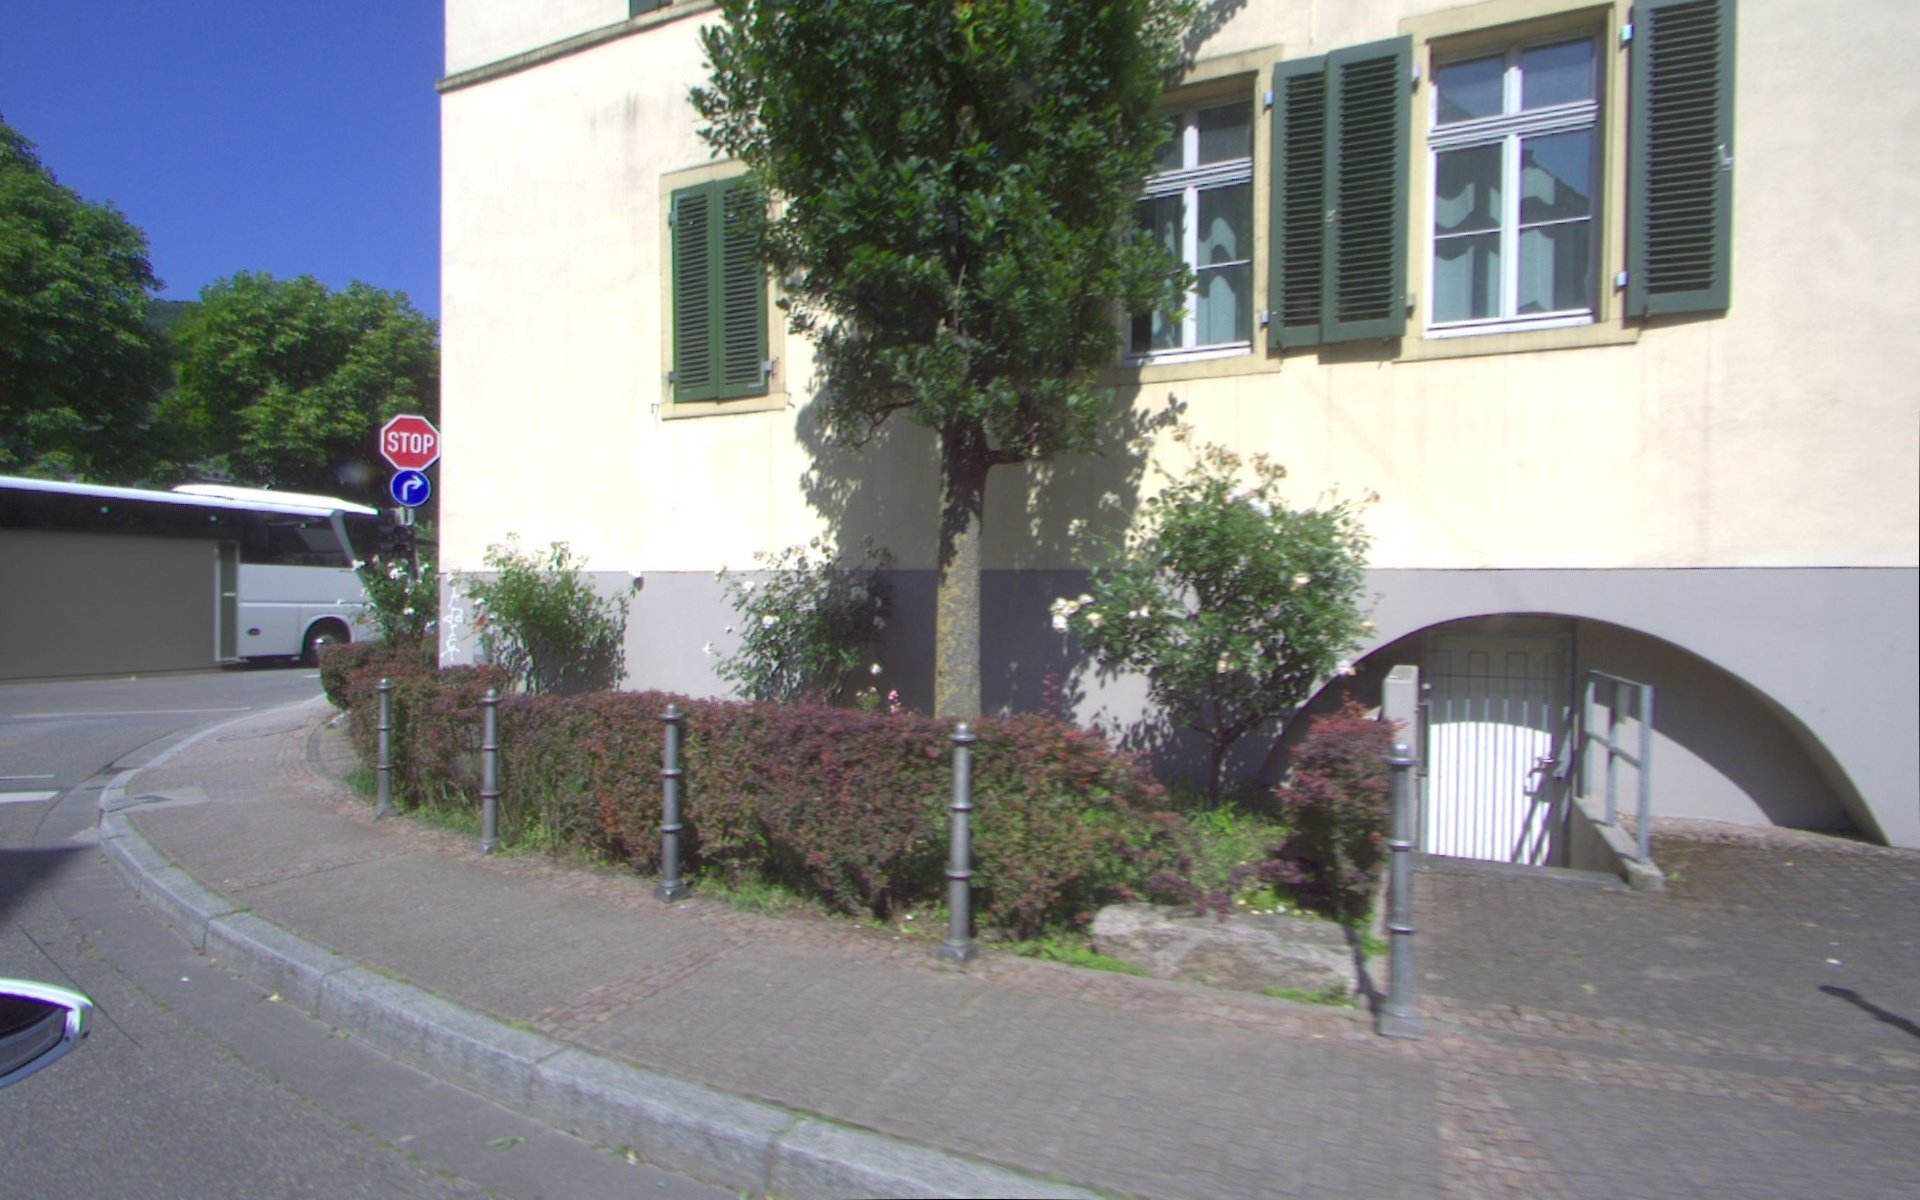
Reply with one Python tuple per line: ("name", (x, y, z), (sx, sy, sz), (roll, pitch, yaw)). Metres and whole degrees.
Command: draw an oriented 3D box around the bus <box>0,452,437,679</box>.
("bus", (-16.589, -0.533, 19.793), (2.857, 3.837, 12.152), (0, -1, 22))
